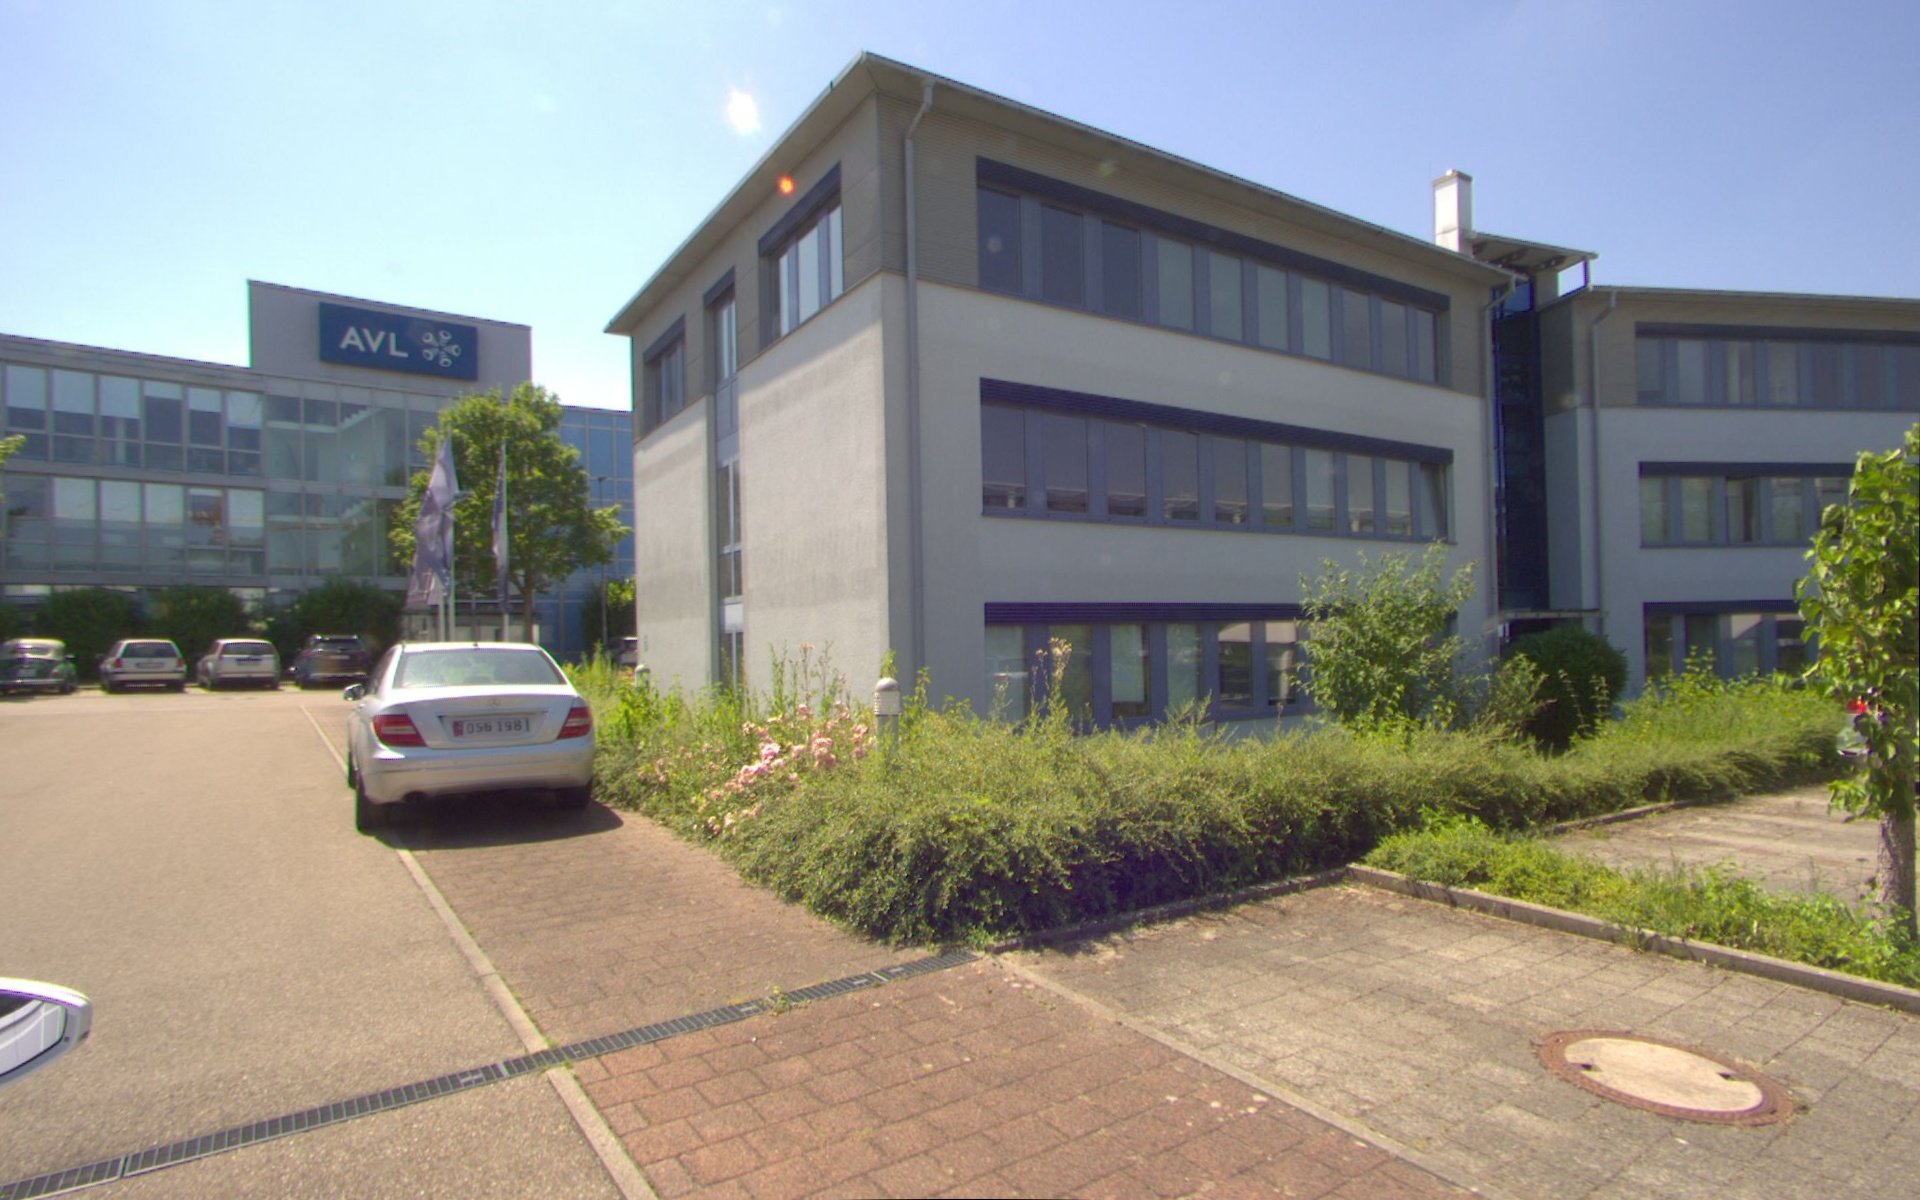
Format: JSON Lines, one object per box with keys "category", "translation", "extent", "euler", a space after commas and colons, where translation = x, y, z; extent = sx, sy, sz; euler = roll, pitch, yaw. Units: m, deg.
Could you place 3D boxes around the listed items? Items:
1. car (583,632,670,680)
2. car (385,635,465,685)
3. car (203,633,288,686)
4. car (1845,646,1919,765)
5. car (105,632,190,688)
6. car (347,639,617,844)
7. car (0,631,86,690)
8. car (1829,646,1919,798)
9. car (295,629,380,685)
{"category": "car", "translation": [-12.478, 2.025, 37.316], "extent": [1.803, 1.640, 4.308], "euler": [1, -1, -37]}
{"category": "car", "translation": [-17.890, 1.935, 33.405], "extent": [1.754, 1.501, 4.227], "euler": [1, -1, -37]}
{"category": "car", "translation": [-21.808, 1.774, 30.523], "extent": [1.753, 1.467, 3.622], "euler": [2, -2, -41]}
{"category": "car", "translation": [13.945, 1.339, 12.112], "extent": [1.834, 1.513, 4.581], "euler": [2, -3, -36]}
{"category": "car", "translation": [-23.337, 1.691, 28.720], "extent": [1.719, 1.467, 3.622], "euler": [2, -2, -41]}
{"category": "car", "translation": [-4.632, 1.090, 9.324], "extent": [1.781, 1.415, 4.395], "euler": [1, -3, -32]}
{"category": "car", "translation": [-24.935, 1.605, 27.204], "extent": [1.529, 1.467, 3.626], "euler": [2, -2, -37]}
{"category": "car", "translation": [11.372, 1.224, 9.529], "extent": [1.834, 1.539, 4.397], "euler": [2, -3, -36]}
{"category": "car", "translation": [-19.826, 1.768, 31.826], "extent": [1.910, 1.631, 3.957], "euler": [2, -2, -37]}
